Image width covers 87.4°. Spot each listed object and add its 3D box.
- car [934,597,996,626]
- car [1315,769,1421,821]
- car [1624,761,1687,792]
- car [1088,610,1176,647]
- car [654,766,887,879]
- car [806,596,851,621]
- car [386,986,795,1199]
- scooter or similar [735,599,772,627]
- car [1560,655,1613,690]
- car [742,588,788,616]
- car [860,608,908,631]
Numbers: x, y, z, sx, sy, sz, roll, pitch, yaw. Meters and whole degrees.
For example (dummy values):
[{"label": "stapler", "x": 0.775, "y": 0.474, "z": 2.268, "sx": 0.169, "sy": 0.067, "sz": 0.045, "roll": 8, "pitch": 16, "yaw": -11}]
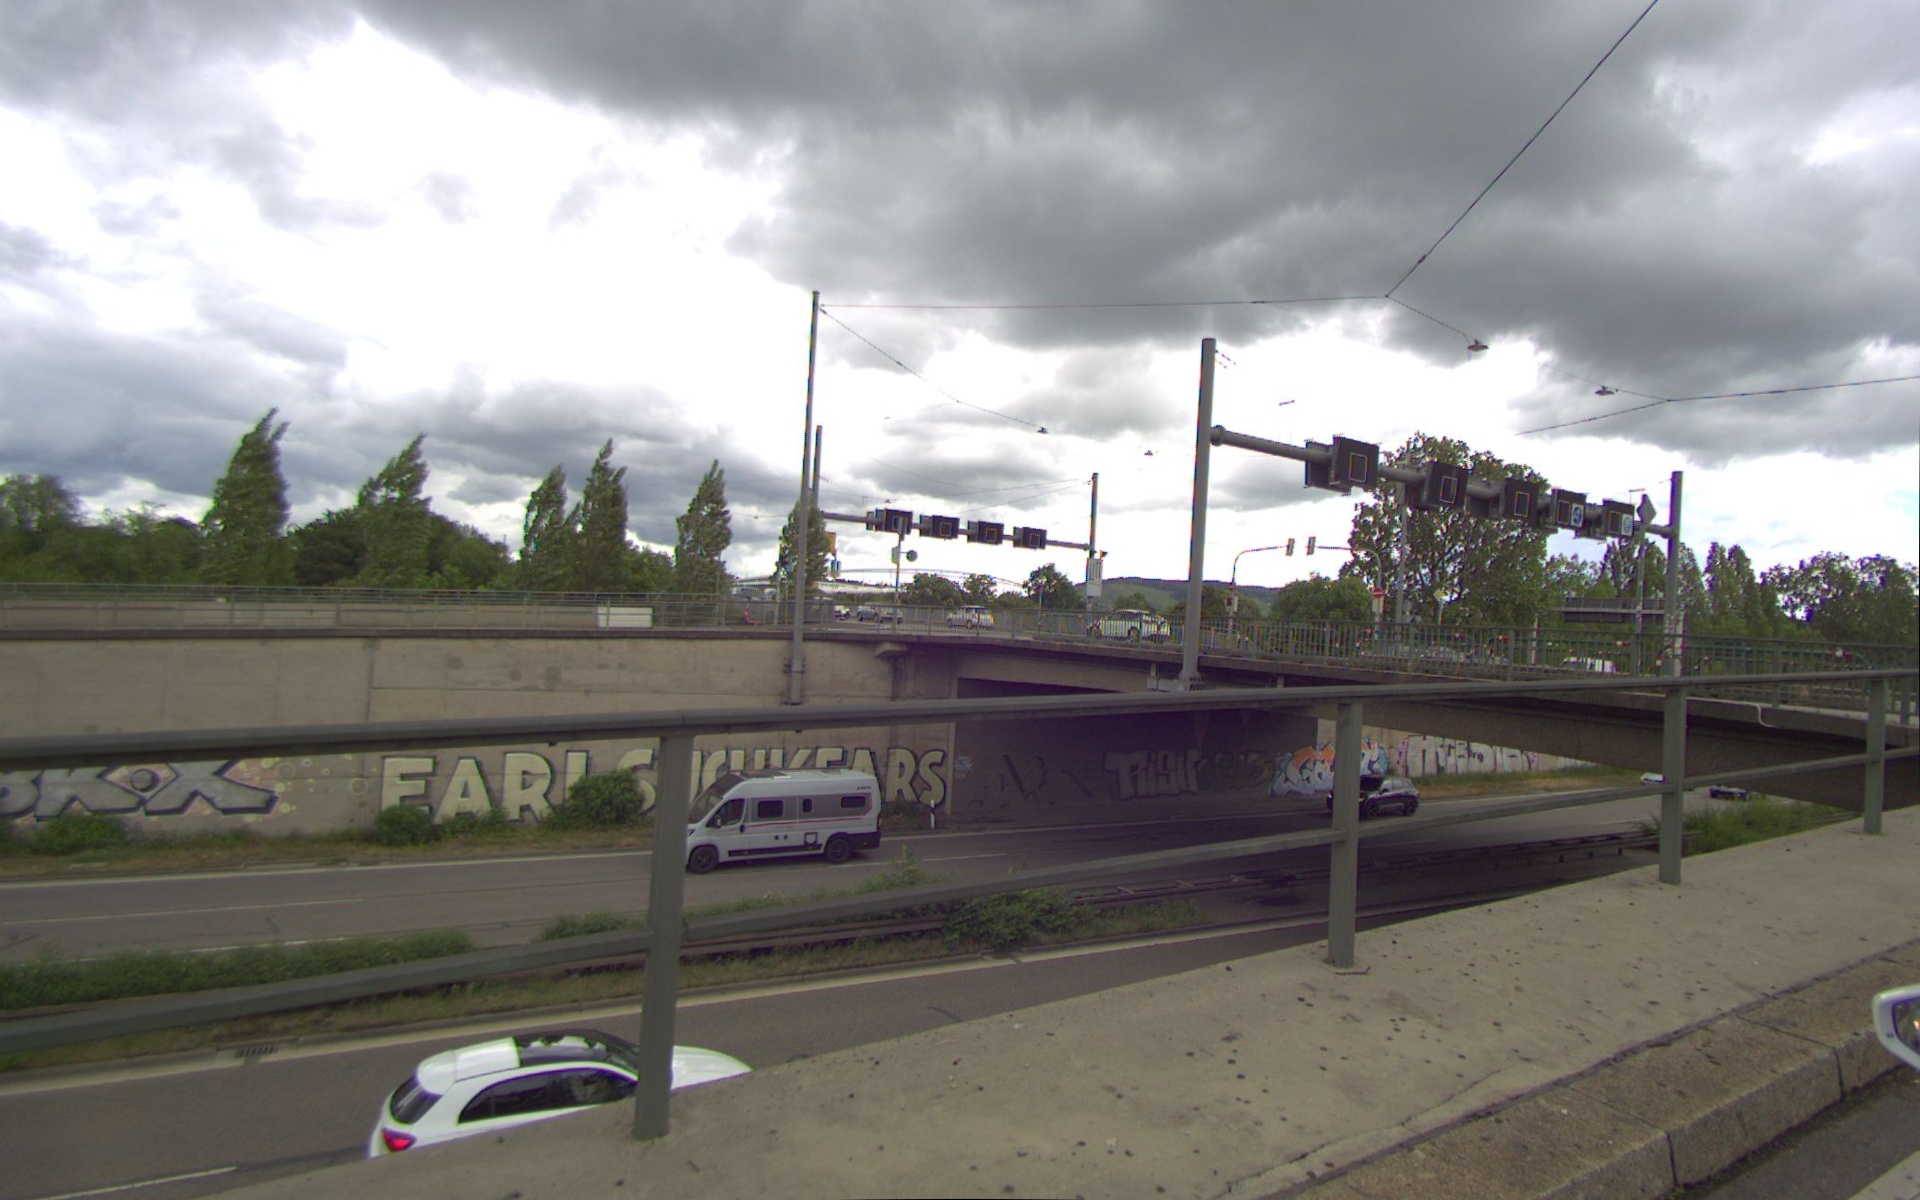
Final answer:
[{"label": "car", "x": 0.275, "y": 0.693, "z": 62.245, "sx": 1.918, "sy": 1.740, "sz": 3.960, "roll": 1, "pitch": -1, "yaw": -35}, {"label": "car", "x": 18.173, "y": 8.629, "z": 44.675, "sx": 4.537, "sy": 1.774, "sz": 1.984, "roll": 4, "pitch": -2, "yaw": -30}, {"label": "car", "x": 42.183, "y": 10.679, "z": 60.906, "sx": 3.877, "sy": 1.476, "sz": 1.674, "roll": 4, "pitch": -2, "yaw": -30}, {"label": "car", "x": 8.544, "y": 1.404, "z": 50.172, "sx": 1.916, "sy": 1.740, "sz": 4.367, "roll": 1, "pitch": -1, "yaw": -32}, {"label": "car", "x": -5.417, "y": 6.326, "z": 29.179, "sx": 6.259, "sy": 2.567, "sz": 2.072, "roll": 4, "pitch": -3, "yaw": -31}, {"label": "car", "x": -8.540, "y": 0.538, "z": 64.903, "sx": 1.560, "sy": 1.587, "sz": 3.715, "roll": 1, "pitch": 0, "yaw": -31}, {"label": "car", "x": -4.349, "y": 5.934, "z": 12.023, "sx": 4.232, "sy": 1.437, "sz": 1.904, "roll": 5, "pitch": -3, "yaw": -33}, {"label": "scooter or similar", "x": -8.893, "y": 0.564, "z": 43.303, "sx": 1.402, "sy": 1.108, "sz": 0.539, "roll": 3, "pitch": -2, "yaw": -34}, {"label": "car", "x": 43.821, "y": 5.016, "z": 70.247, "sx": 3.626, "sy": 2.245, "sz": 1.843, "roll": 1, "pitch": 0, "yaw": -35}, {"label": "car", "x": -14.482, "y": 0.161, "z": 74.491, "sx": 1.711, "sy": 2.040, "sz": 4.443, "roll": 1, "pitch": 0, "yaw": -35}, {"label": "car", "x": -4.928, "y": 1.237, "z": 64.615, "sx": 1.537, "sy": 1.372, "sz": 3.860, "roll": 1, "pitch": -1, "yaw": -31}]
